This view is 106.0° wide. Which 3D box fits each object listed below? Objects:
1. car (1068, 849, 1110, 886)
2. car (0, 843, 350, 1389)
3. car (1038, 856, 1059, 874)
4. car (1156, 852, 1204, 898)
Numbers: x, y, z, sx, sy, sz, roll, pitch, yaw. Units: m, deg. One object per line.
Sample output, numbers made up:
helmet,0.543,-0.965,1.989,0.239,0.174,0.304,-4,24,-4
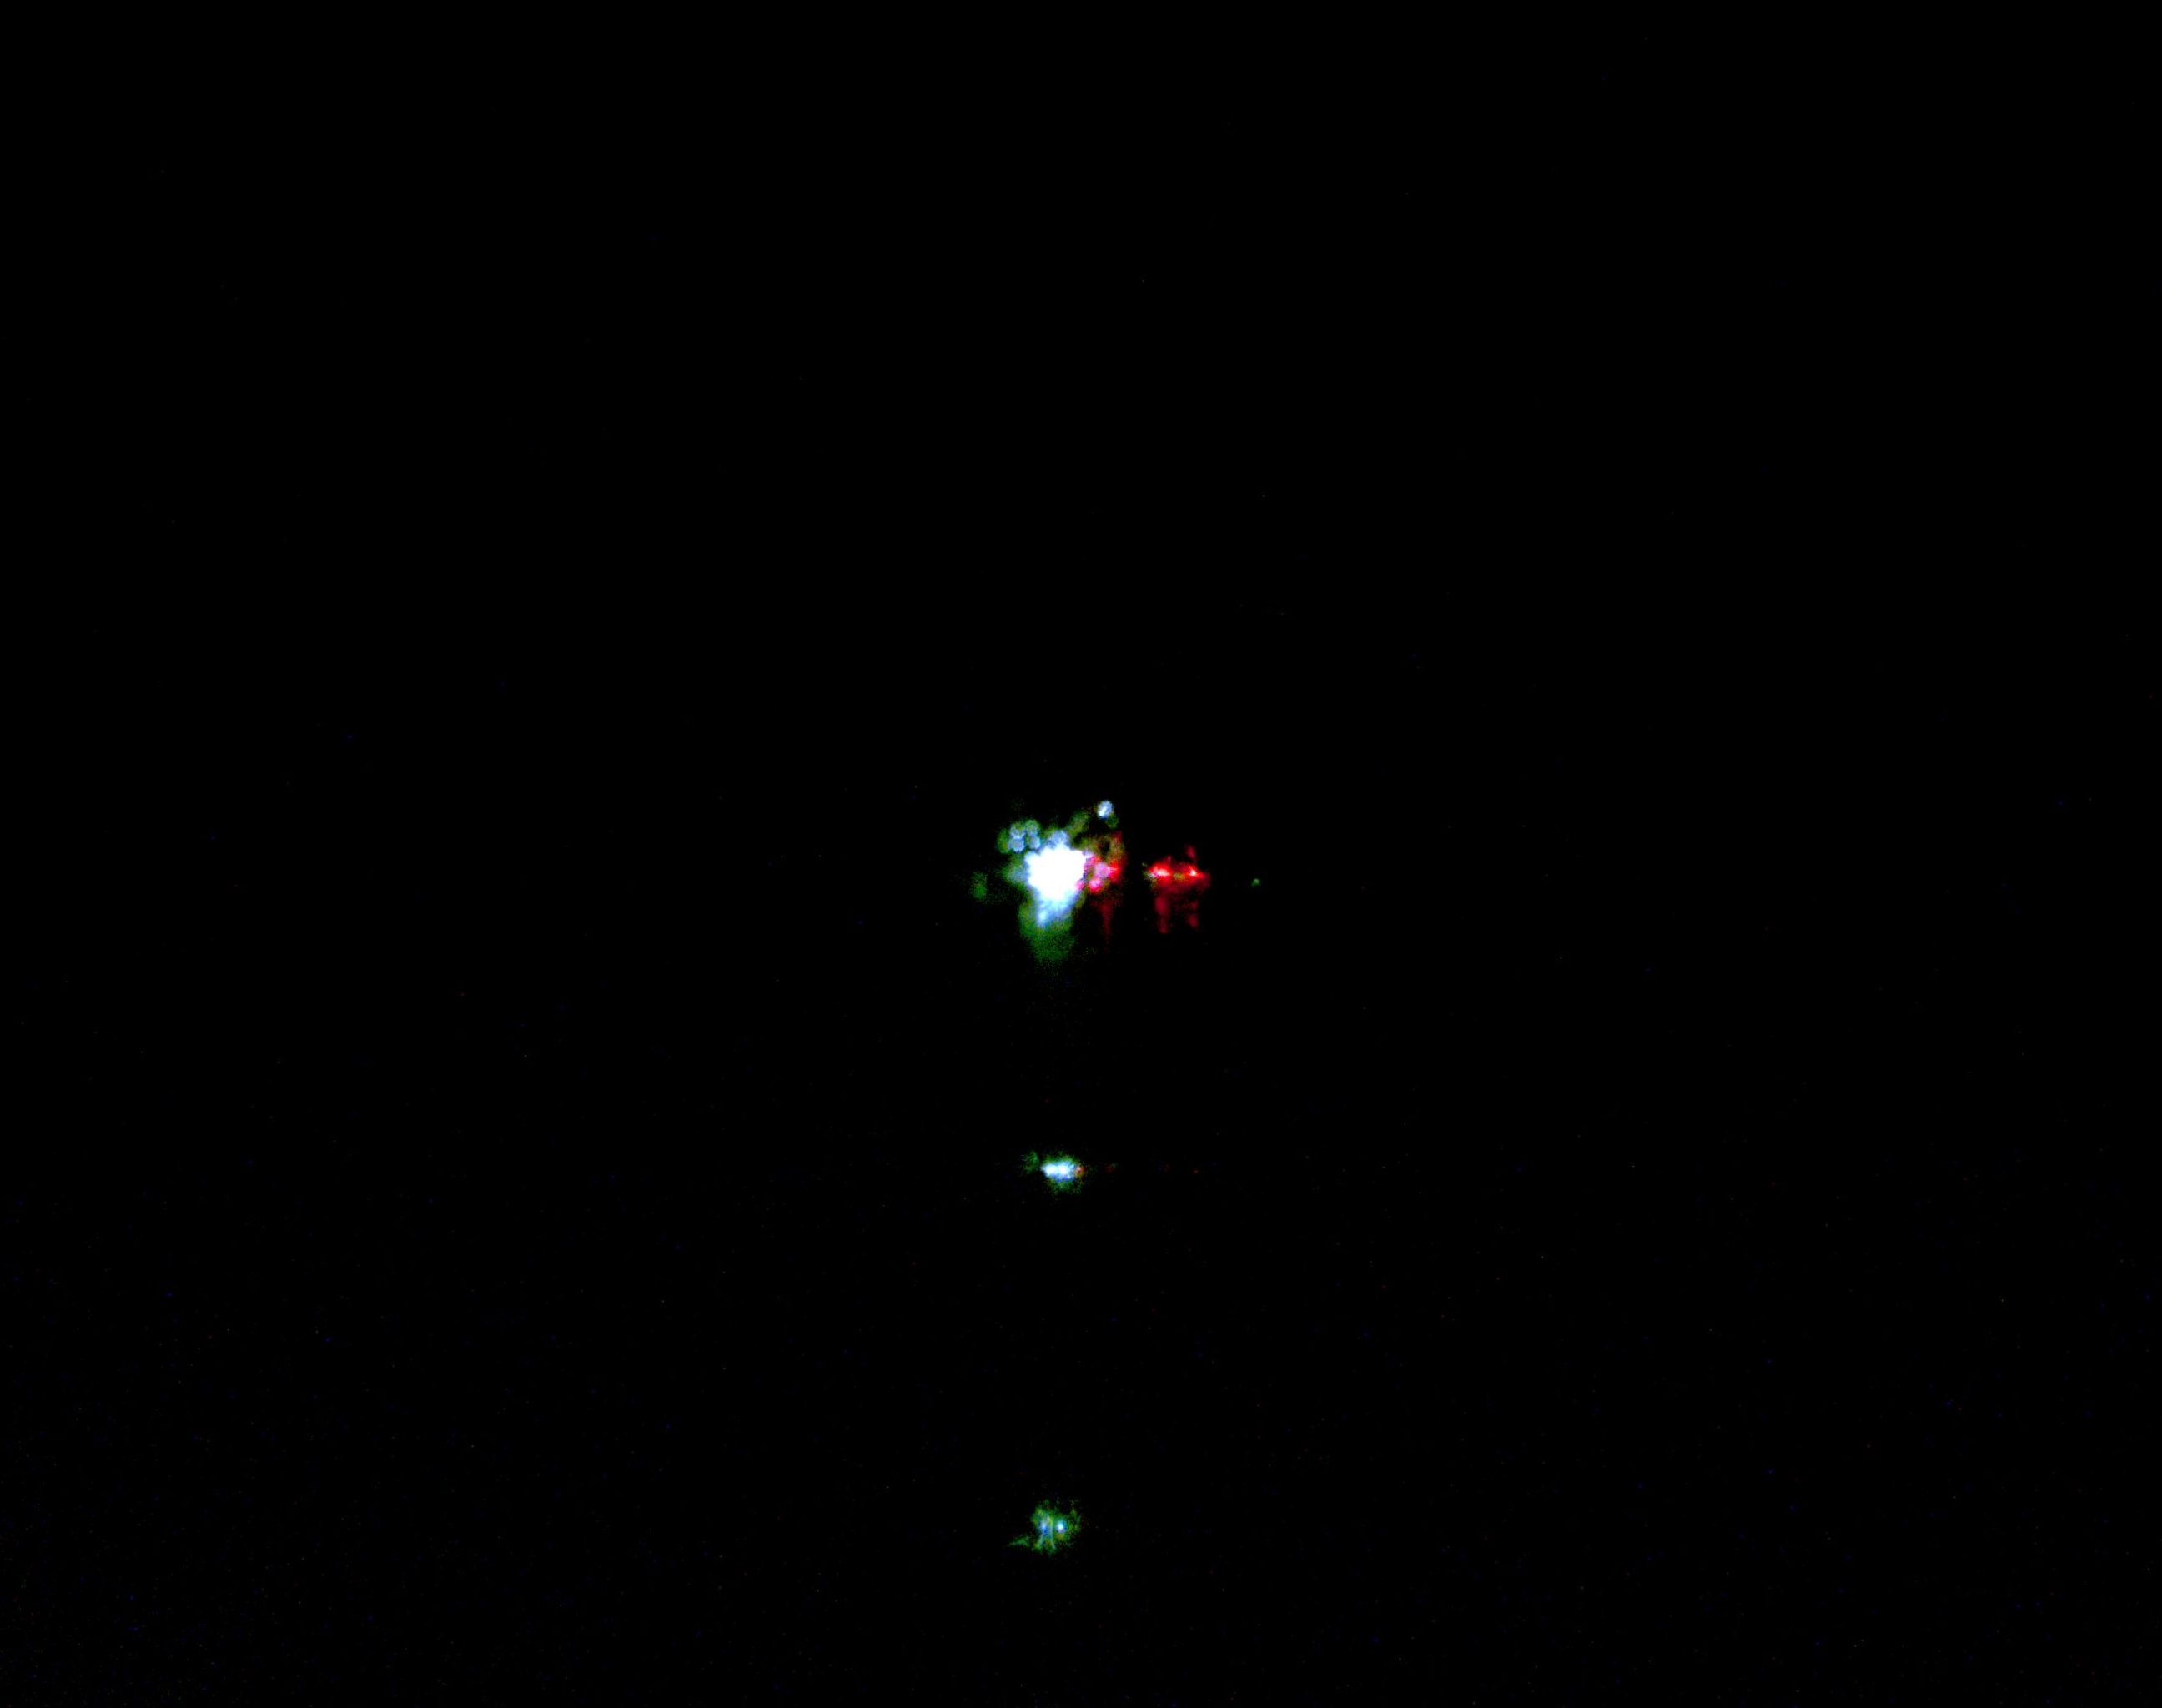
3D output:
car,0.321,0.597,37.637,1.804,1.622,3.998,-1,0,-1
car,-4.014,0.716,1.386,1.985,1.498,3.778,0,0,3
car,-3.041,1.037,75.595,1.805,1.622,3.993,-1,0,-5
car,4.510,0.927,37.408,2.083,2.014,4.006,0,0,6
